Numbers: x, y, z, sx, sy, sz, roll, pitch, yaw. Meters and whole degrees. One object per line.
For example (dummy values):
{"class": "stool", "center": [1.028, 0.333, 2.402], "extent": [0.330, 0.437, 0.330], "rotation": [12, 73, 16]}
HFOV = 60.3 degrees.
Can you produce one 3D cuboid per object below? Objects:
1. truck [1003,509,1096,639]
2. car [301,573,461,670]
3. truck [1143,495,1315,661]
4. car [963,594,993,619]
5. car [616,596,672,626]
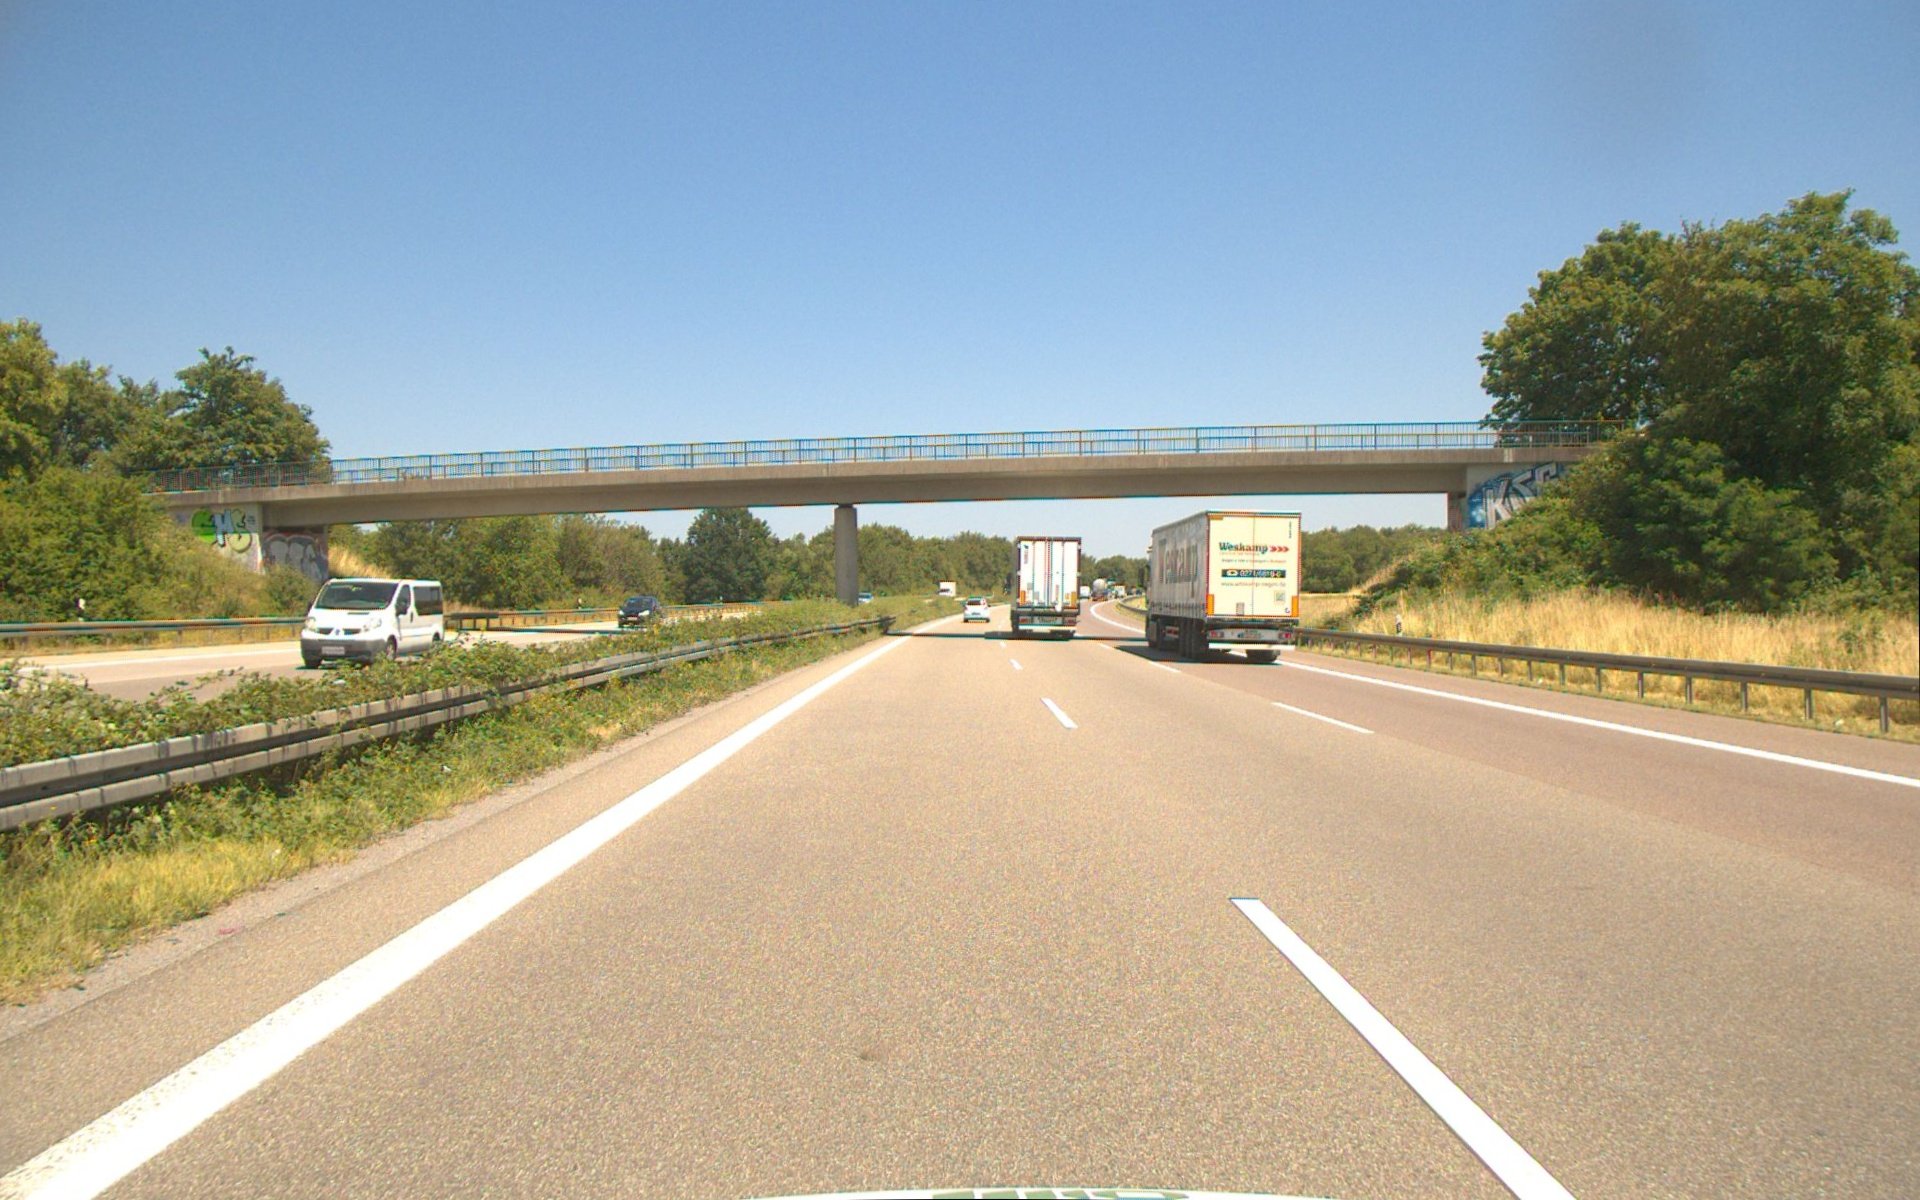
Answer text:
{"class": "truck", "center": [3.726, -1.088, 73.215], "extent": [3.590, 5.106, 16.020], "rotation": [1, 0, 1]}
{"class": "car", "center": [-13.223, 0.464, 38.123], "extent": [1.790, 2.049, 5.330], "rotation": [1, 0, 0]}
{"class": "truck", "center": [7.982, -0.649, 51.678], "extent": [3.115, 4.379, 16.020], "rotation": [1, 0, 1]}
{"class": "car", "center": [1.185, 0.443, 108.600], "extent": [1.790, 1.574, 4.320], "rotation": [1, 0, 2]}
{"class": "car", "center": [-16.188, 0.568, 84.935], "extent": [1.789, 1.487, 4.321], "rotation": [1, 0, 3]}
